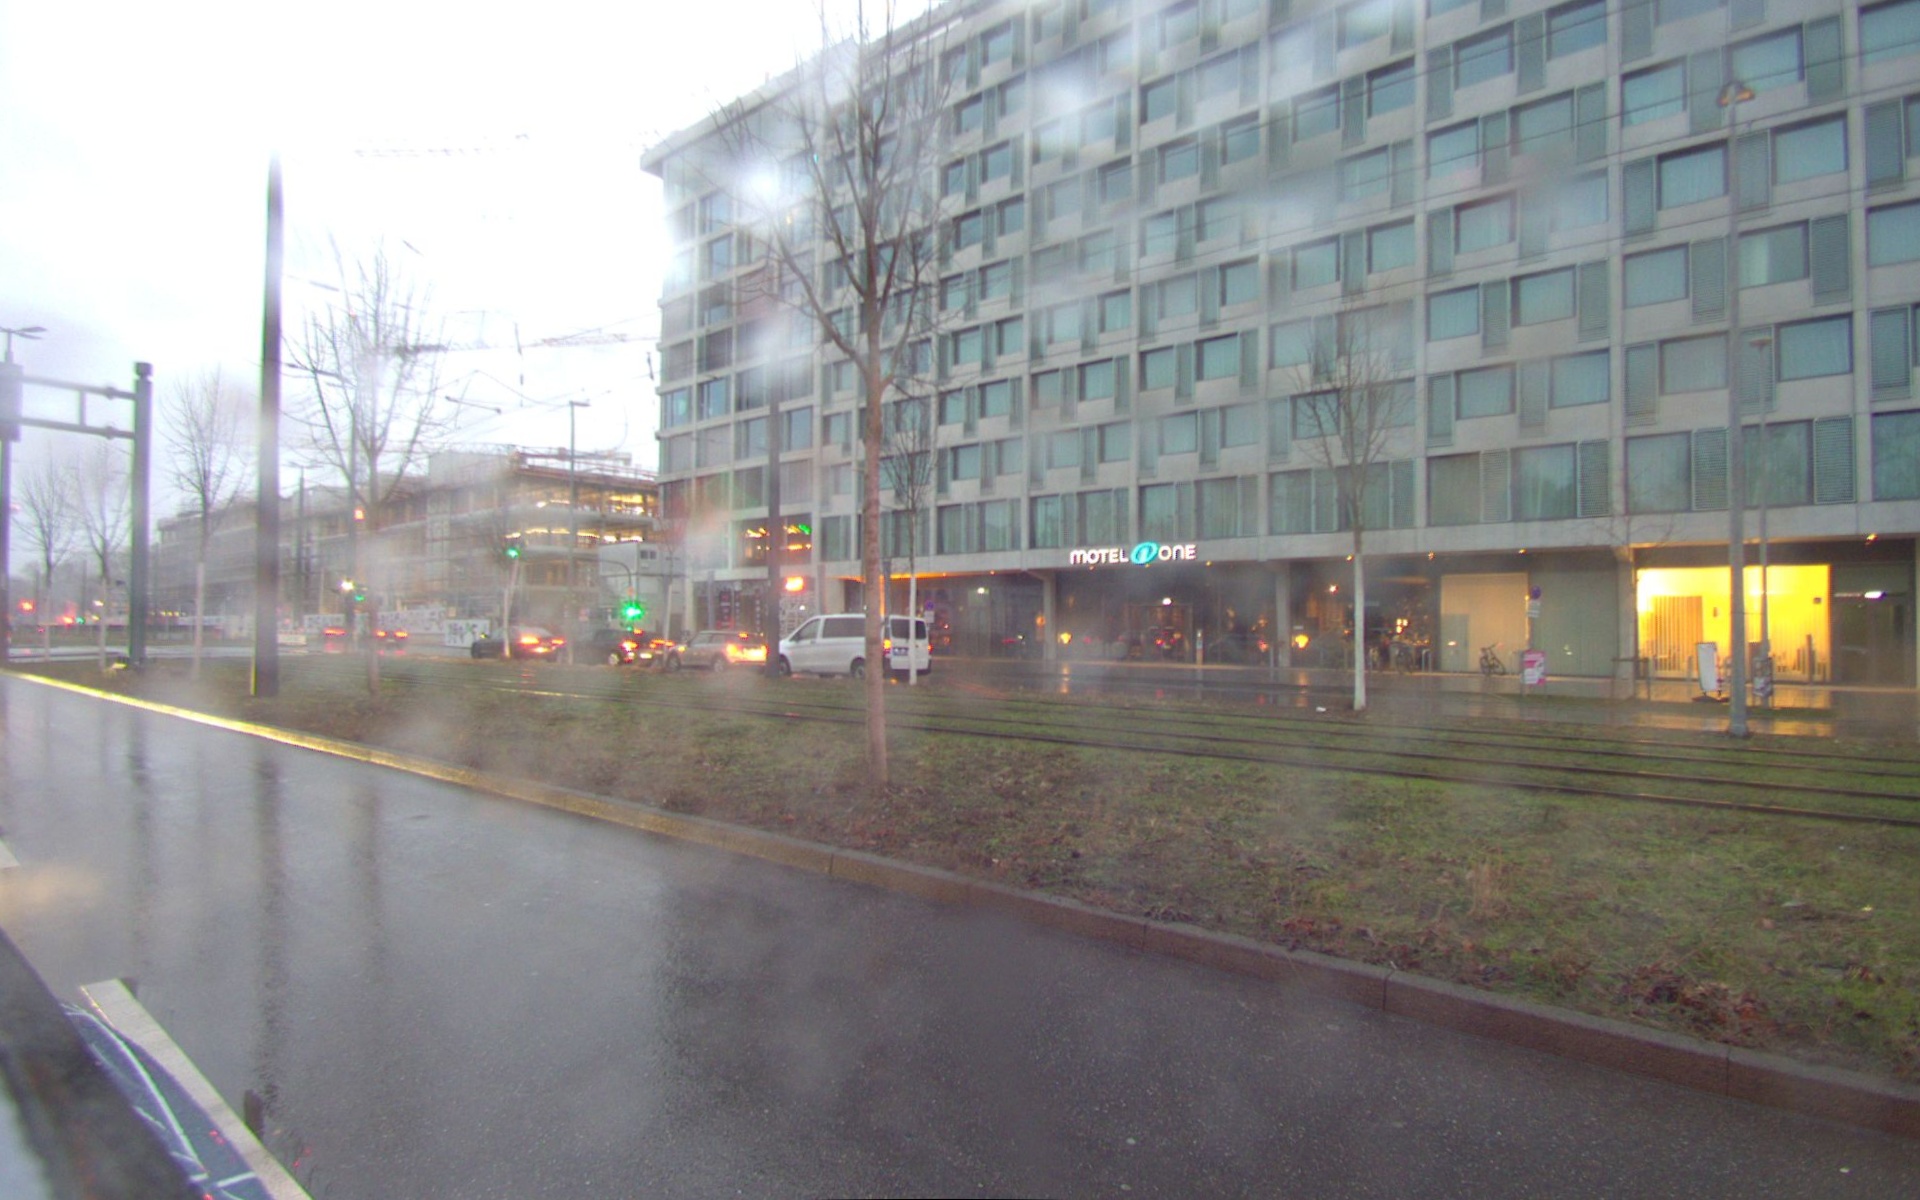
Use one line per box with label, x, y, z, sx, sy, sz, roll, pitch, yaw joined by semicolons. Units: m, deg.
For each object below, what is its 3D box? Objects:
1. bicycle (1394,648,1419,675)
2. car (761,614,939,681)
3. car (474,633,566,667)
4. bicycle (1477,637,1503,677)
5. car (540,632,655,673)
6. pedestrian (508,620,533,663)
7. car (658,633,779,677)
bicycle;15.802;2.165;35.799;0.465;0.860;1.332;-1;0;39
car;-3.117;1.278;27.979;5.041;1.682;2.060;-1;-3;41
car;-17.719;1.979;40.722;3.997;1.284;1.793;-1;-3;40
bicycle;18.058;1.929;34.475;0.465;1.247;1.520;-1;0;39
car;-13.241;1.869;36.841;4.254;1.411;2.084;-1;-3;40
pedestrian;-19.138;1.811;44.041;0.710;1.818;0.759;-1;0;40
car;-7.777;1.720;32.439;3.998;1.317;1.793;-1;-3;41
